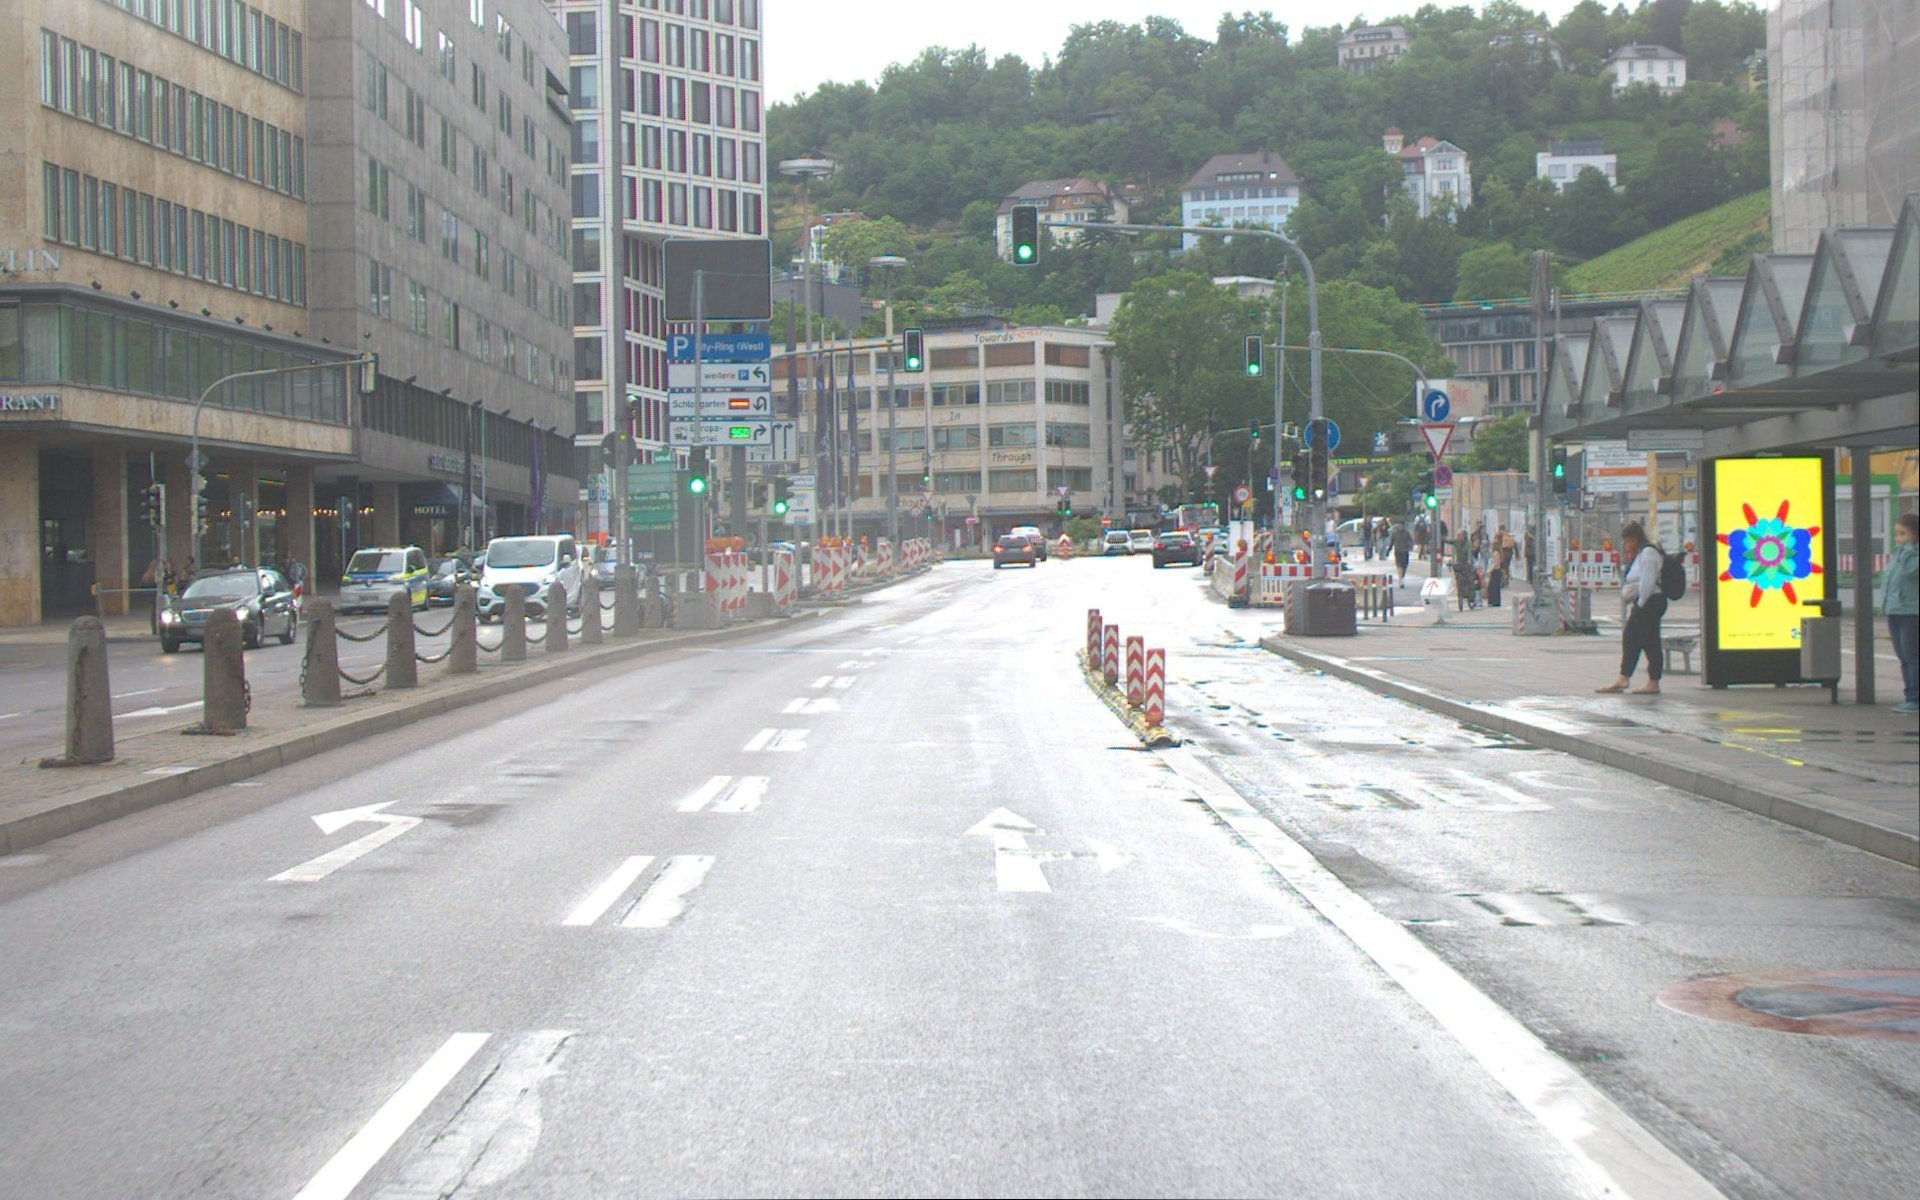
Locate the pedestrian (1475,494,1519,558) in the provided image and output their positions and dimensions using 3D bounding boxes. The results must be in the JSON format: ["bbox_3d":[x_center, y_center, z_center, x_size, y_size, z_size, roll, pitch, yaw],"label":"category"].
[{"bbox_3d":[15.695,-2.162,100.451,0.867,1.835,0.947,-1,1,45],"label":"pedestrian"}]

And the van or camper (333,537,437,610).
[{"bbox_3d":[-16.490,-0.769,98.804,1.993,2.007,4.965,-1,1,1],"label":"van or camper"}]

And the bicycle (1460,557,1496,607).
[{"bbox_3d":[11.275,-0.391,74.884,0.707,1.046,1.806,0,2,6],"label":"bicycle"}]

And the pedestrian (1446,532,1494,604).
[{"bbox_3d":[11.510,-0.734,77.620,0.796,1.602,0.834,-1,0,31],"label":"pedestrian"}]

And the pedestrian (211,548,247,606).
[{"bbox_3d":[-19.777,-0.616,93.032,0.721,1.552,0.895,-1,0,3],"label":"pedestrian"}]

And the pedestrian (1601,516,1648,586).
[{"bbox_3d":[15.557,-1.143,80.470,0.767,1.602,0.863,-1,0,-12],"label":"pedestrian"}]

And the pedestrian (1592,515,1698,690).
[{"bbox_3d":[6.688,0.015,33.581,0.701,1.674,0.723,-1,1,-27],"label":"pedestrian"}]

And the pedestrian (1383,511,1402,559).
[{"bbox_3d":[16.596,-2.484,131.920,0.688,1.835,0.614,-1,0,7],"label":"pedestrian"}]

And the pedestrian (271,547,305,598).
[{"bbox_3d":[-20.551,-0.837,105.116,0.795,1.521,0.916,-1,0,4],"label":"pedestrian"}]

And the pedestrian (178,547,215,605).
[{"bbox_3d":[-20.711,-0.643,93.304,0.721,1.552,0.905,-1,0,3],"label":"pedestrian"}]

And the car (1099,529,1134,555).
[{"bbox_3d":[8.961,-3.329,196.725,1.819,1.437,4.000,1,1,1],"label":"car"}]

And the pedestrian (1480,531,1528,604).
[{"bbox_3d":[12.217,-0.735,77.178,0.796,1.602,0.834,-1,0,31],"label":"pedestrian"}]

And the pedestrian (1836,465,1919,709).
[{"bbox_3d":[8.103,-0.119,29.295,0.802,2.043,0.926,0,1,-40],"label":"pedestrian"}]

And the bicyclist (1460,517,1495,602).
[{"bbox_3d":[11.279,-0.872,74.927,0.703,1.838,0.967,0,1,6],"label":"bicyclist"}]

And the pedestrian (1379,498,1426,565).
[{"bbox_3d":[12.266,-1.909,95.375,0.948,1.835,0.945,-1,0,32],"label":"pedestrian"}]

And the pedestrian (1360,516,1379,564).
[{"bbox_3d":[15.723,-2.289,131.991,0.688,1.835,0.614,-1,0,7],"label":"pedestrian"}]

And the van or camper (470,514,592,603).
[{"bbox_3d":[-10.038,-0.972,80.790,1.993,2.007,5.189,-1,0,2],"label":"van or camper"}]

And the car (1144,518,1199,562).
[{"bbox_3d":[8.464,-2.376,137.797,1.993,1.700,4.000,-1,1,1],"label":"car"}]

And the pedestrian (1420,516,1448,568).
[{"bbox_3d":[17.042,-2.076,123.589,0.946,1.835,0.867,-1,0,8],"label":"pedestrian"}]

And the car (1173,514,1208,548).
[{"bbox_3d":[12.491,-3.725,186.256,1.776,1.634,3.999,-2,-2,3],"label":"car"}]

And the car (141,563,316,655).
[{"bbox_3d":[-13.619,0.141,64.339,1.994,1.611,4.977,-1,1,2],"label":"car"}]

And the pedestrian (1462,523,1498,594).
[{"bbox_3d":[13.699,-1.097,90.577,0.865,1.835,0.797,-1,1,12],"label":"pedestrian"}]

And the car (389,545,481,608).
[{"bbox_3d":[-16.064,-0.741,105.365,1.994,1.831,4.000,-1,1,2],"label":"car"}]

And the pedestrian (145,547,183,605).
[{"bbox_3d":[-21.573,-0.652,93.157,0.721,1.552,1.005,-1,0,3],"label":"pedestrian"}]

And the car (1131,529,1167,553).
[{"bbox_3d":[11.679,-3.680,212.834,1.993,1.437,4.000,1,1,0],"label":"car"}]

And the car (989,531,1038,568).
[{"bbox_3d":[2.335,-2.188,150.036,1.993,1.547,4.000,-1,1,-1],"label":"car"}]

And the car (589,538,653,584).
[{"bbox_3d":[-12.293,-1.420,124.947,1.768,1.603,4.226,-1,1,2],"label":"car"}]
